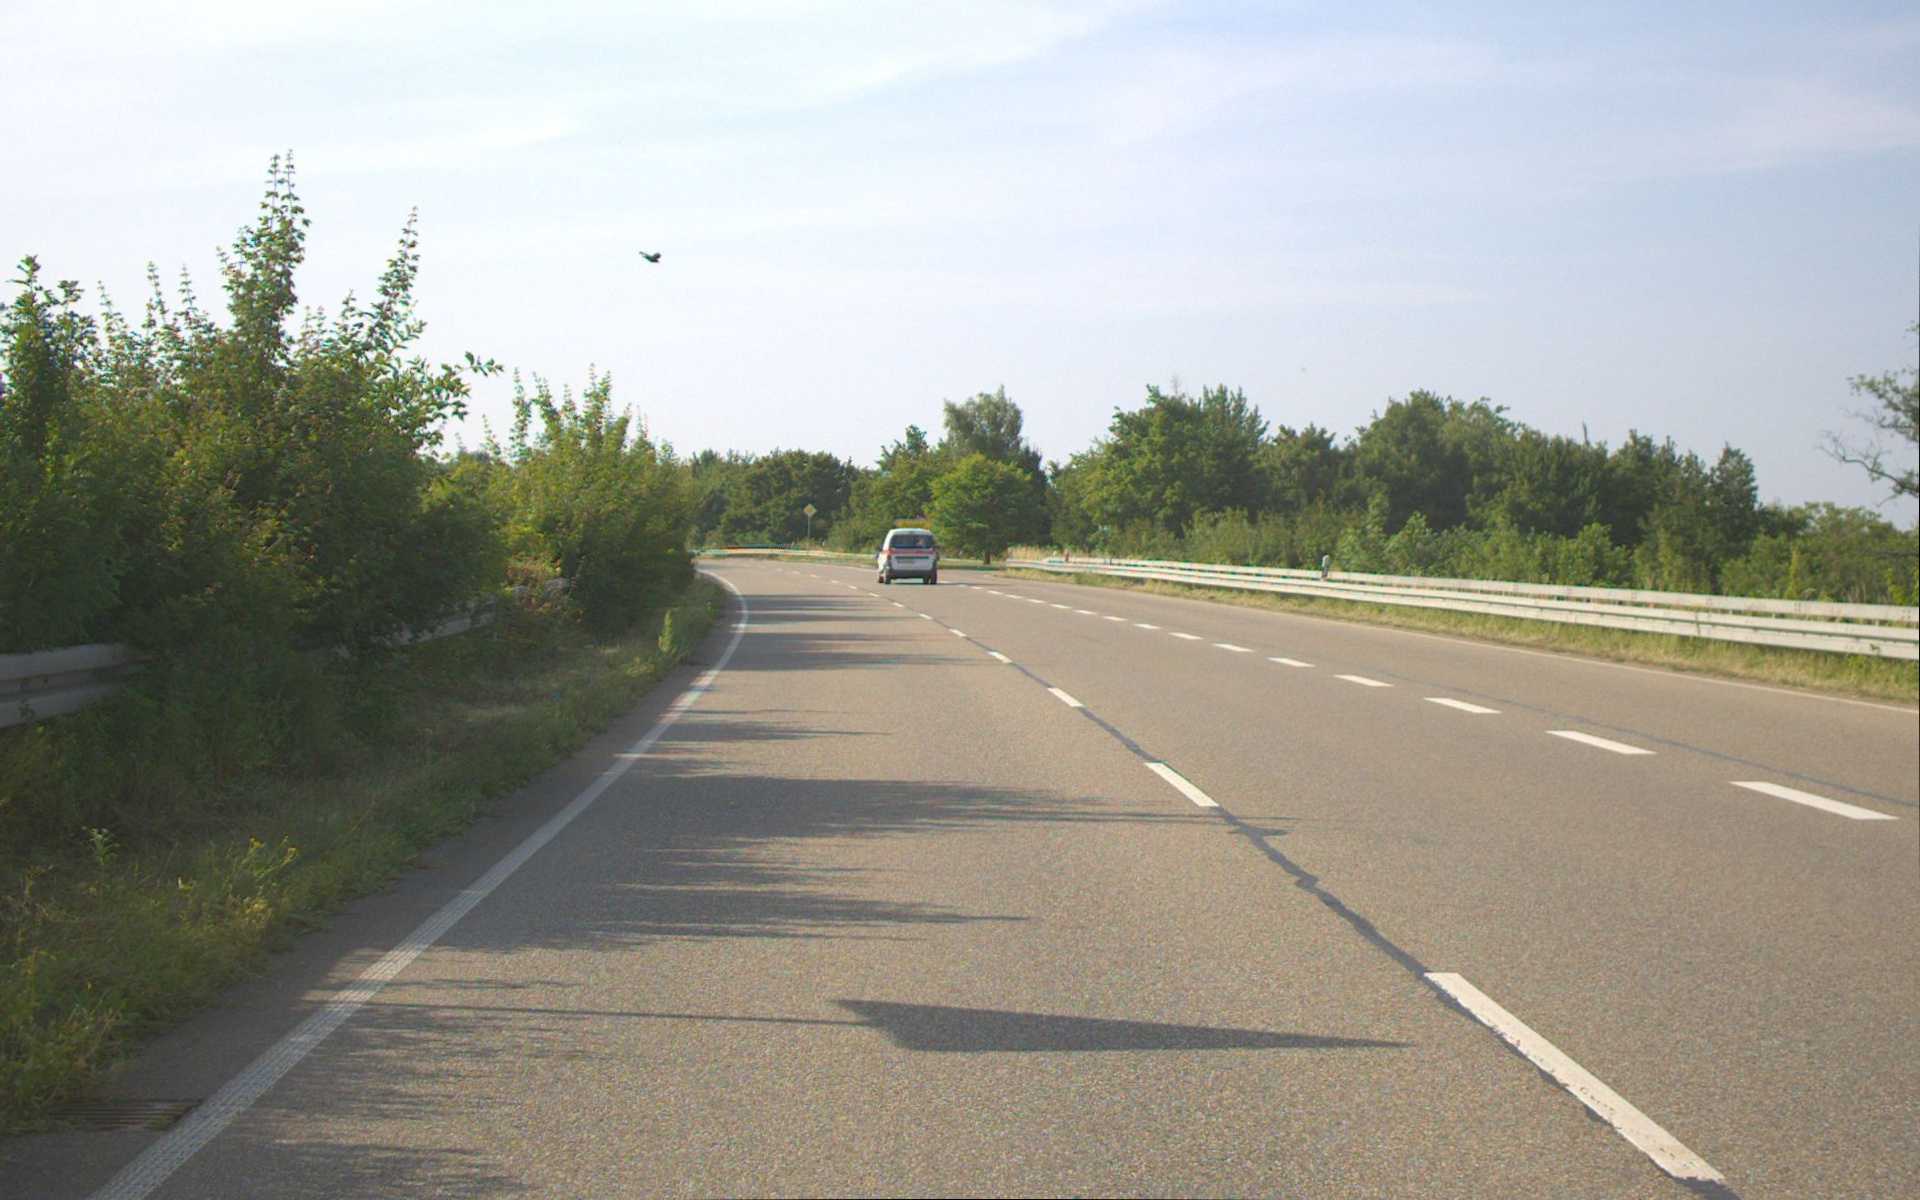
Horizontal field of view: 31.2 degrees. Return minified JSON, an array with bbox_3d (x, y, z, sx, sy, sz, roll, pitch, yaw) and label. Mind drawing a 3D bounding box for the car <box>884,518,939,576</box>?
[{"bbox_3d":[-1.586,-1.718,112.147,1.765,1.875,4.000,0,0,-1],"label":"car"}]
